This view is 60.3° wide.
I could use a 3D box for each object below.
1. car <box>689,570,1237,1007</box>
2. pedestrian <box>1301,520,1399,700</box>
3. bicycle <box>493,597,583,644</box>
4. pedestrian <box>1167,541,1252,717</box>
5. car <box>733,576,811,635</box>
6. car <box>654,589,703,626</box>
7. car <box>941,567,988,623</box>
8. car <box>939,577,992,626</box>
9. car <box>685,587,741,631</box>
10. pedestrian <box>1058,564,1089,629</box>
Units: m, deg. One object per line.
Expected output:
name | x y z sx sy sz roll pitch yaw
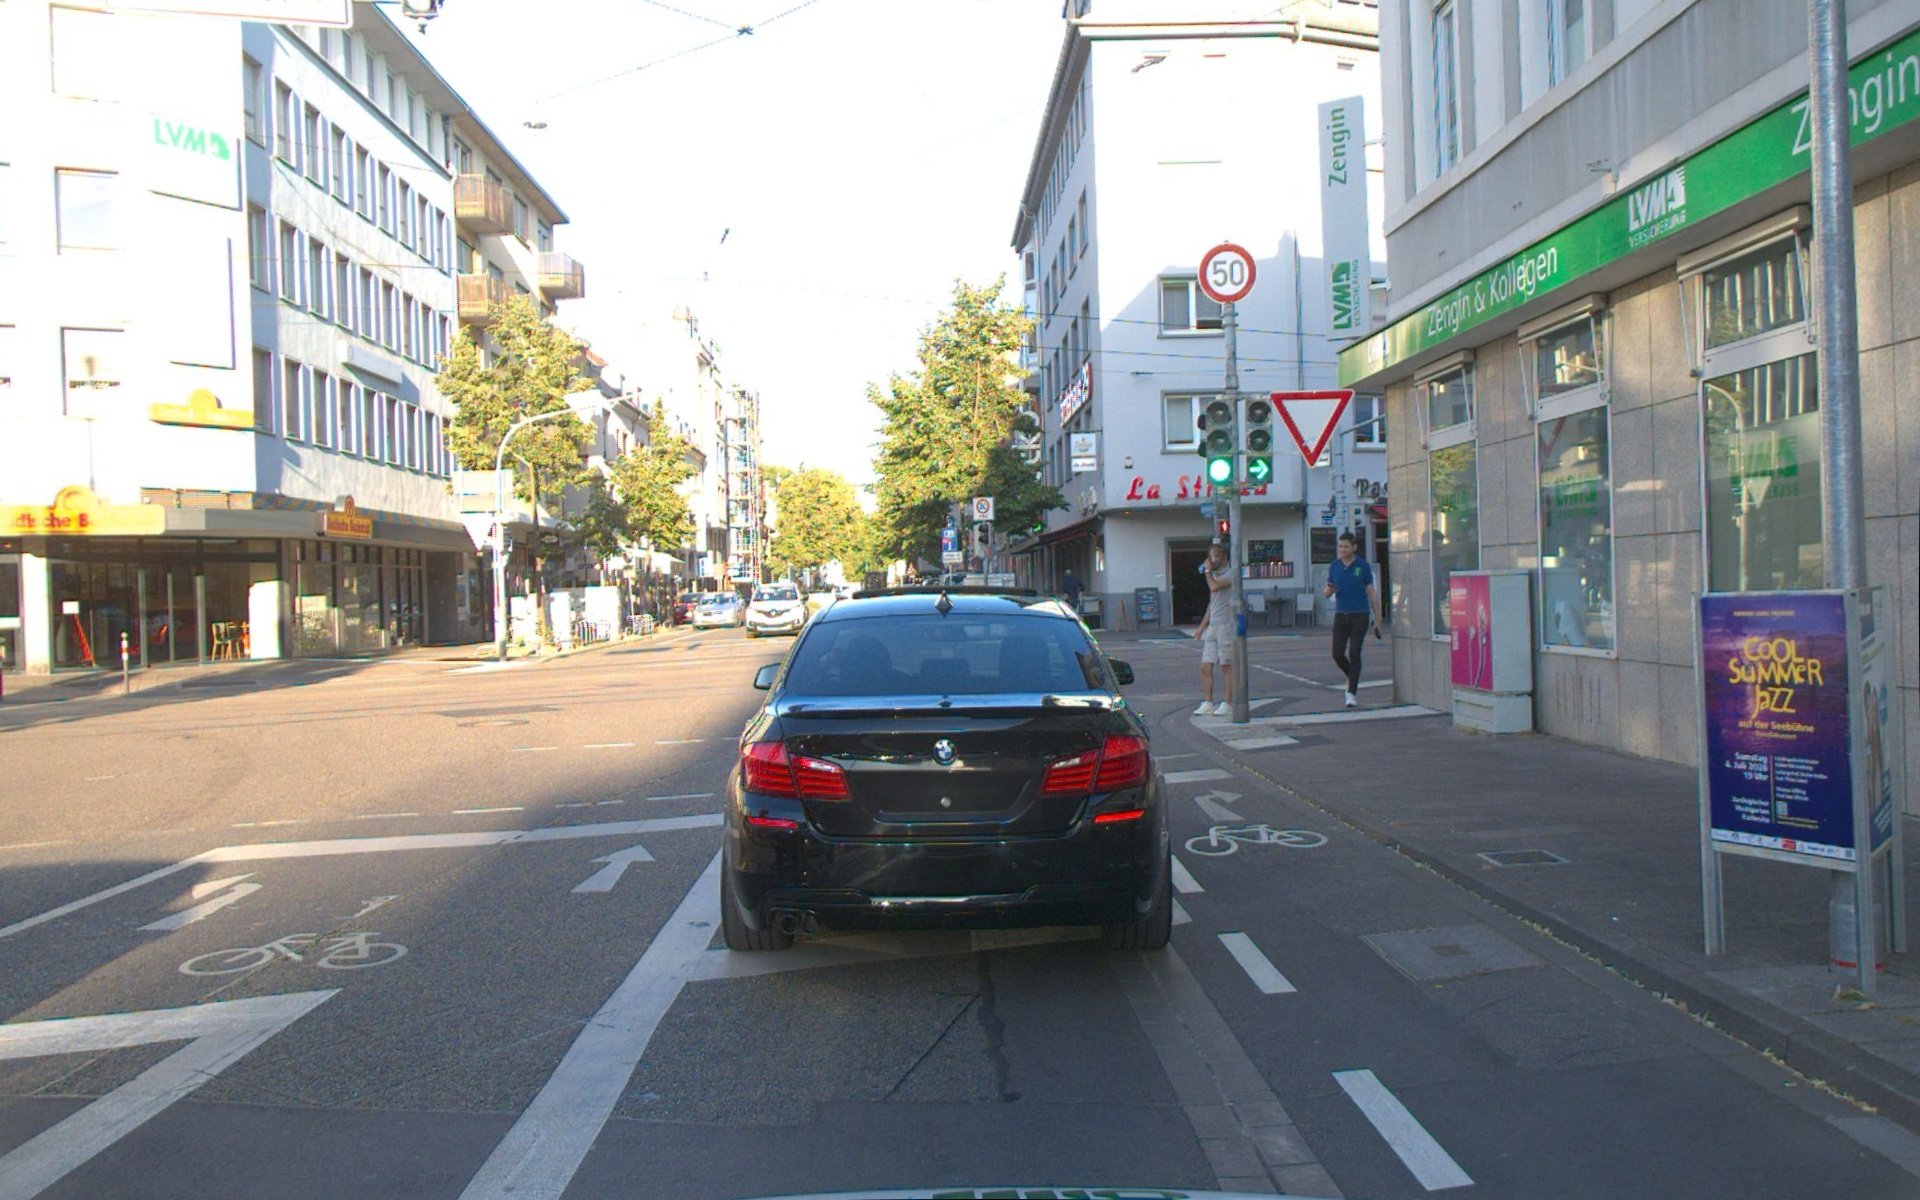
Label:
car | -0.023 0.648 8.039 1.914 1.524 4.464 0 0 -1
pedestrian | 4.171 0.102 17.678 0.678 1.859 0.878 -3 0 34
bicycle | -11.651 0.573 45.727 2.322 1.275 0.639 0 0 -7
pedestrian | 2.589 0.292 17.208 0.640 1.773 0.693 -2 0 -9
car | -5.618 0.167 49.803 2.066 1.583 4.009 -3 0 -4
car | -13.136 0.368 77.240 1.798 1.583 3.777 -3 0 -4
car | 0.160 -0.208 59.858 1.606 1.906 3.607 1 1 0
car | 0.177 0.040 53.129 1.606 1.469 3.607 -2 1 0
car | -9.664 0.347 64.888 1.798 1.583 3.777 -3 0 -4
pedestrian | 3.044 -0.104 44.352 0.697 1.705 0.703 -2 0 -3
